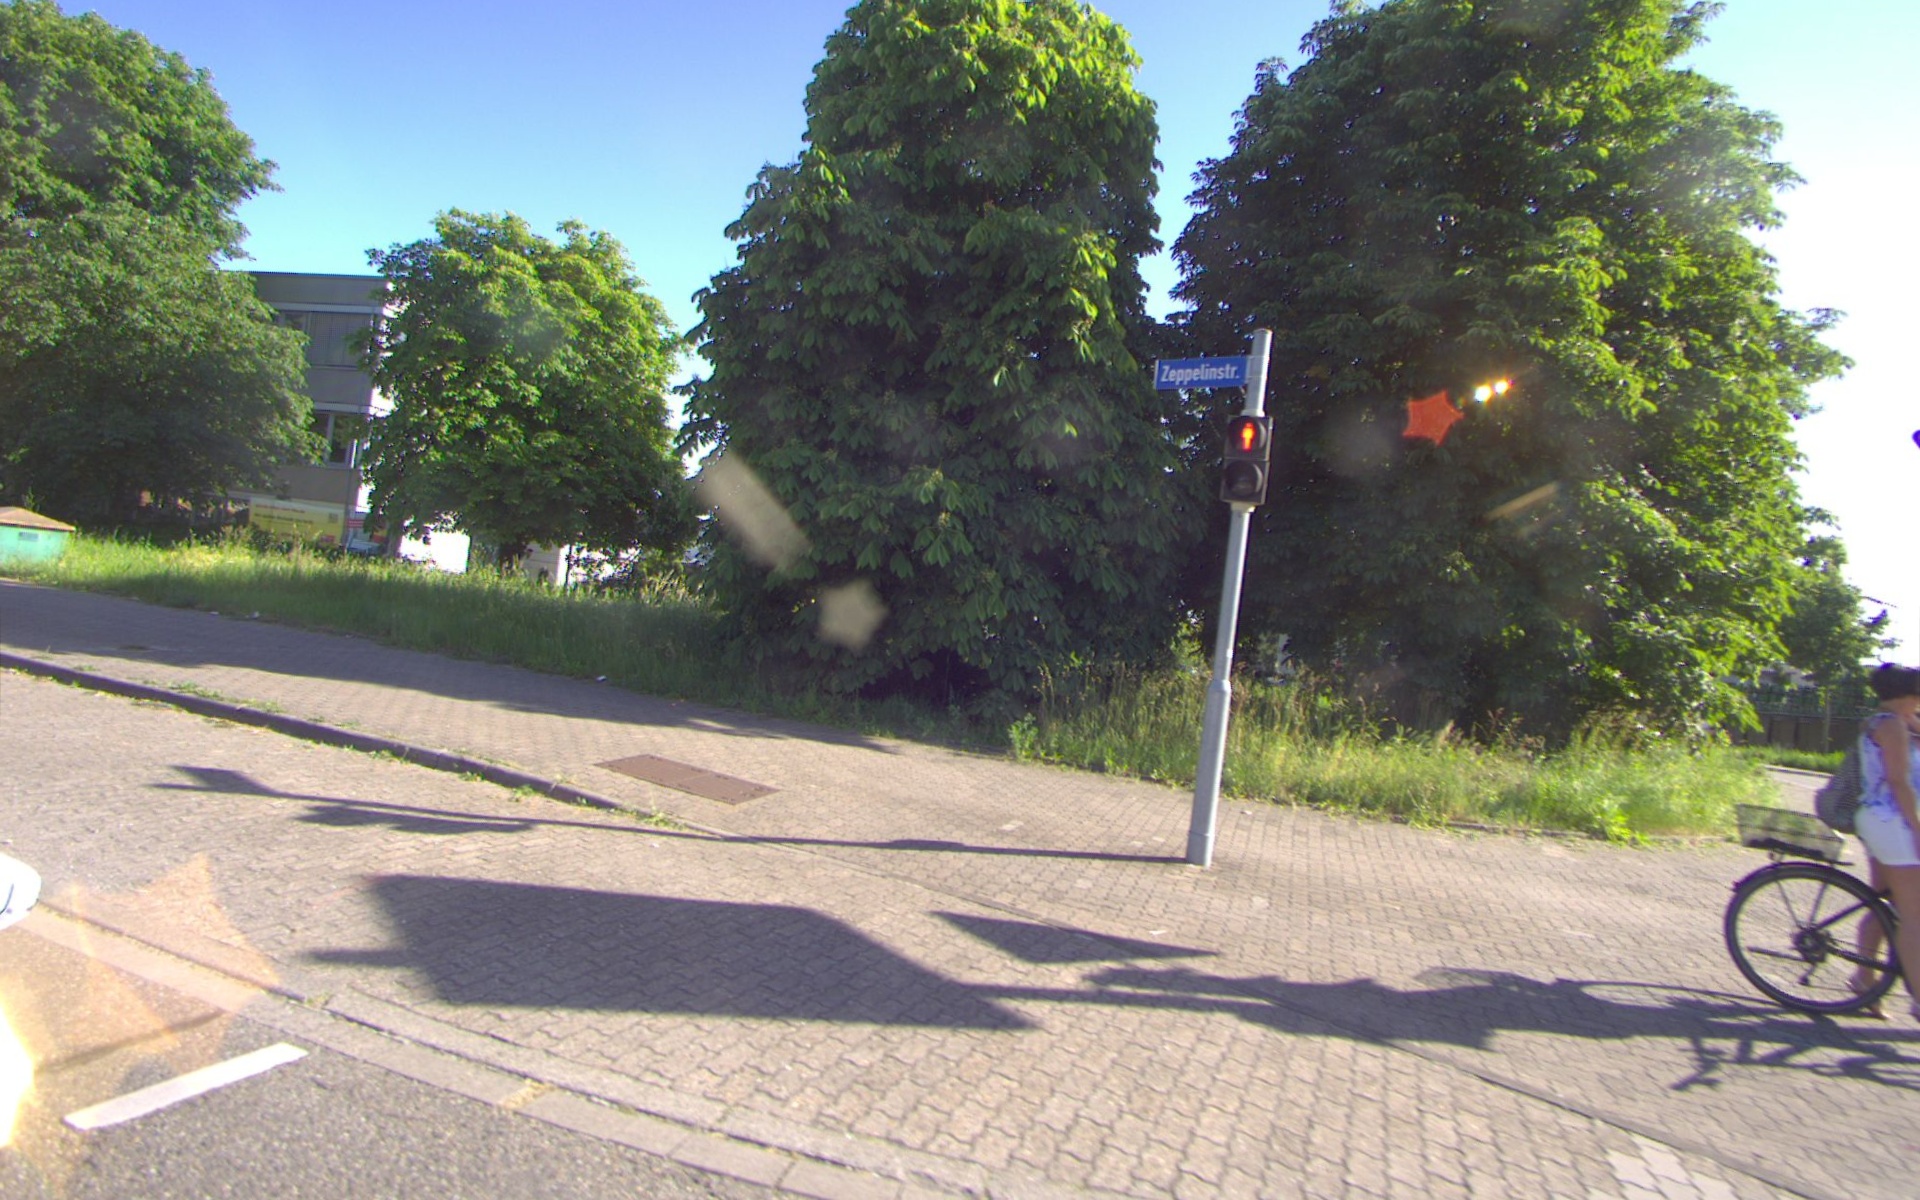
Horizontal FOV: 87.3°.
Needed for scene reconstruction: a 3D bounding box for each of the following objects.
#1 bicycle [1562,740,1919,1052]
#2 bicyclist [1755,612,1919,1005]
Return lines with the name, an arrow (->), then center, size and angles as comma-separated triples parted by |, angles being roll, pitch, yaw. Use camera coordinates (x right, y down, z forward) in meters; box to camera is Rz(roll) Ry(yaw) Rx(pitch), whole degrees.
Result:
bicycle -> 4.668, 1.501, 4.761 | 2.911, 1.138, 0.900 | 7, -2, 41
bicyclist -> 4.684, 1.012, 4.819 | 1.173, 1.712, 0.889 | 7, -1, 41
